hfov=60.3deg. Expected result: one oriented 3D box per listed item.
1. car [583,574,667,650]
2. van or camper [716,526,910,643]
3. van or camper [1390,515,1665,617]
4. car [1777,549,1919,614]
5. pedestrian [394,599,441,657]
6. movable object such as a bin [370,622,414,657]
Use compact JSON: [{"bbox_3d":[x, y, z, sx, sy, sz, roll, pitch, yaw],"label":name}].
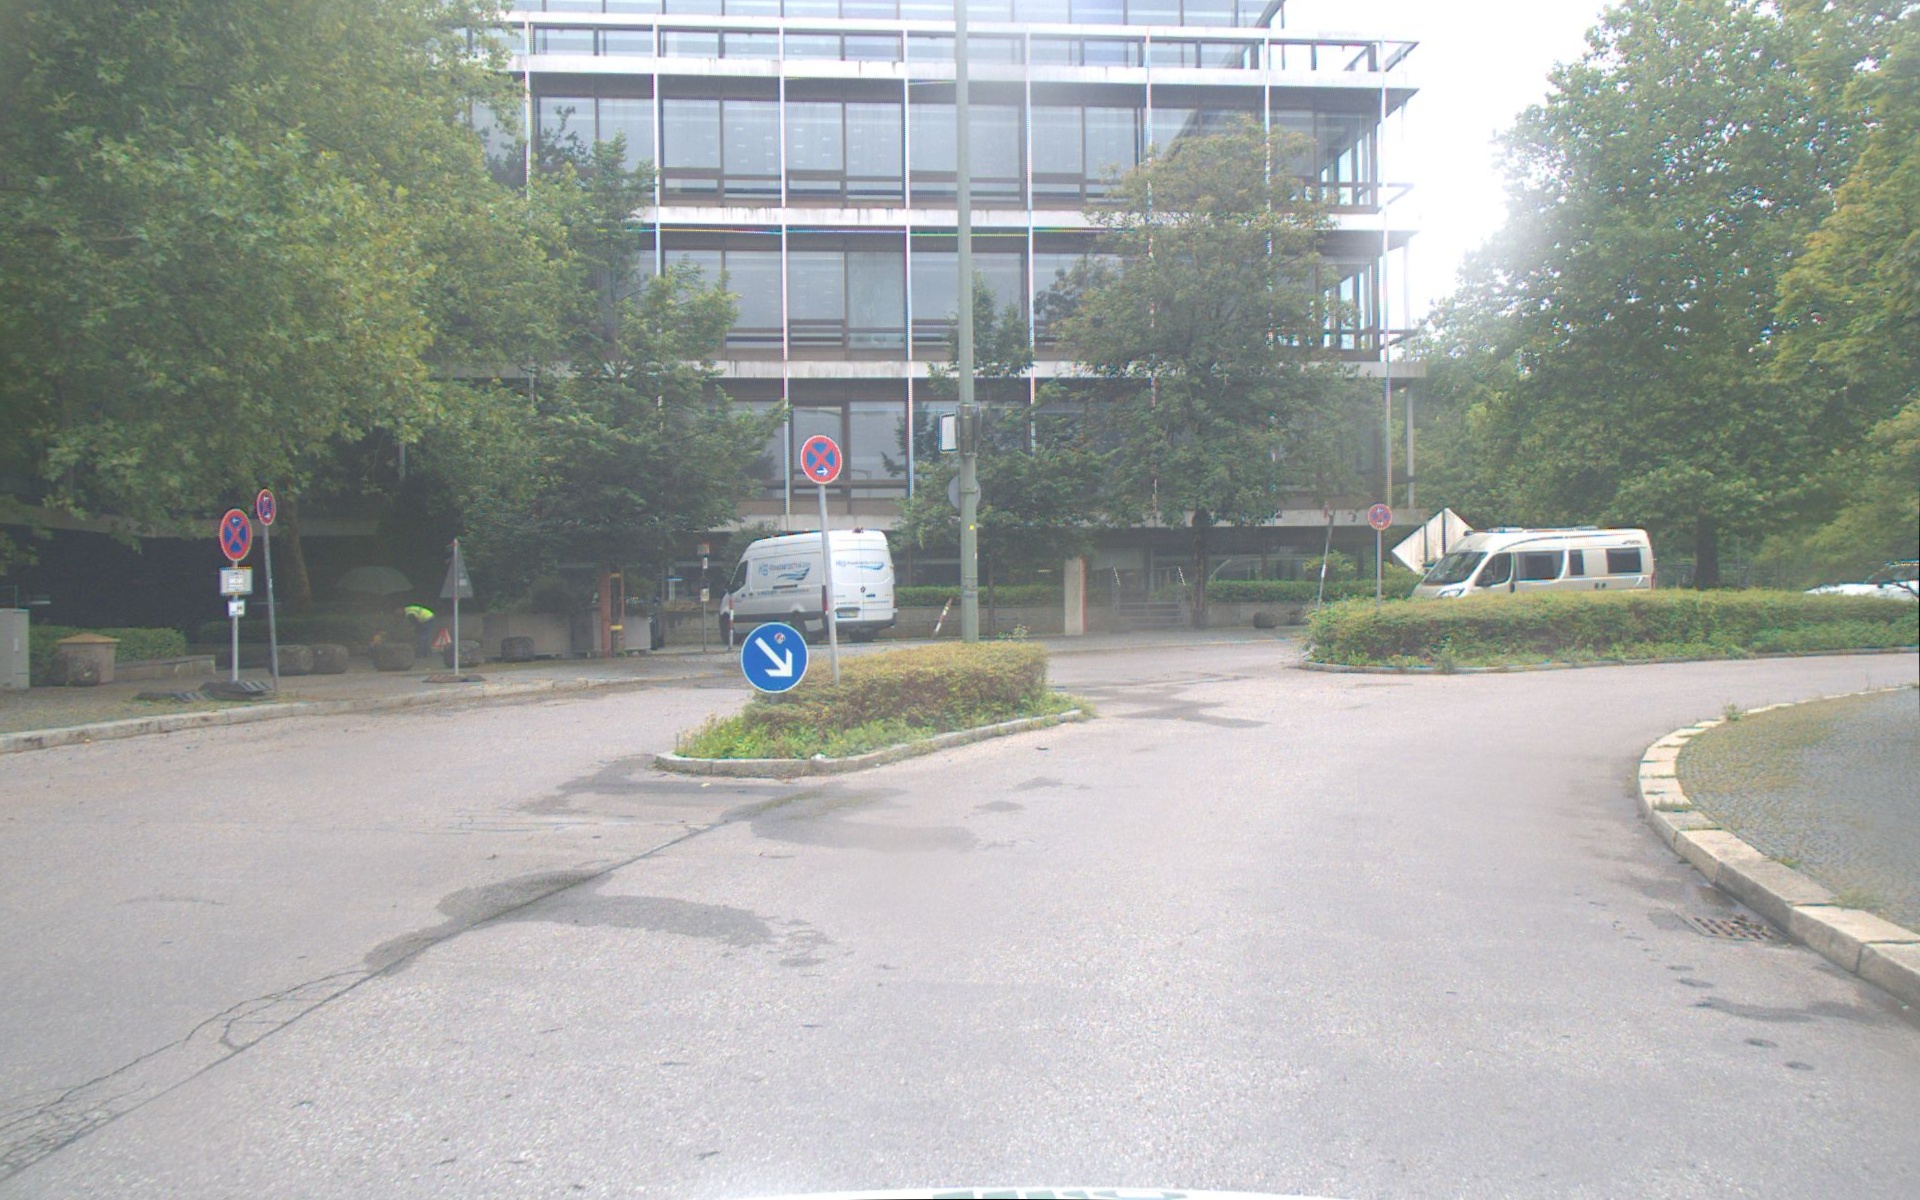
[{"bbox_3d":[-8.299,0.267,41.262,1.906,1.751,4.229,-1,0,-10],"label":"car"},{"bbox_3d":[-3.779,-0.285,40.966,2.135,2.626,6.468,-1,-1,-31],"label":"van or camper"},{"bbox_3d":[13.720,-0.833,39.981,6.304,2.321,2.242,-1,0,-21],"label":"van or camper"},{"bbox_3d":[23.244,-0.485,42.089,3.909,1.534,1.998,-1,0,-5],"label":"car"},{"bbox_3d":[-12.402,0.636,37.817,0.908,1.300,0.541,-1,0,-4],"label":"pedestrian"},{"bbox_3d":[-12.948,0.897,37.718,0.818,0.766,0.572,-1,0,-4],"label":"movable object such as a bin"}]
